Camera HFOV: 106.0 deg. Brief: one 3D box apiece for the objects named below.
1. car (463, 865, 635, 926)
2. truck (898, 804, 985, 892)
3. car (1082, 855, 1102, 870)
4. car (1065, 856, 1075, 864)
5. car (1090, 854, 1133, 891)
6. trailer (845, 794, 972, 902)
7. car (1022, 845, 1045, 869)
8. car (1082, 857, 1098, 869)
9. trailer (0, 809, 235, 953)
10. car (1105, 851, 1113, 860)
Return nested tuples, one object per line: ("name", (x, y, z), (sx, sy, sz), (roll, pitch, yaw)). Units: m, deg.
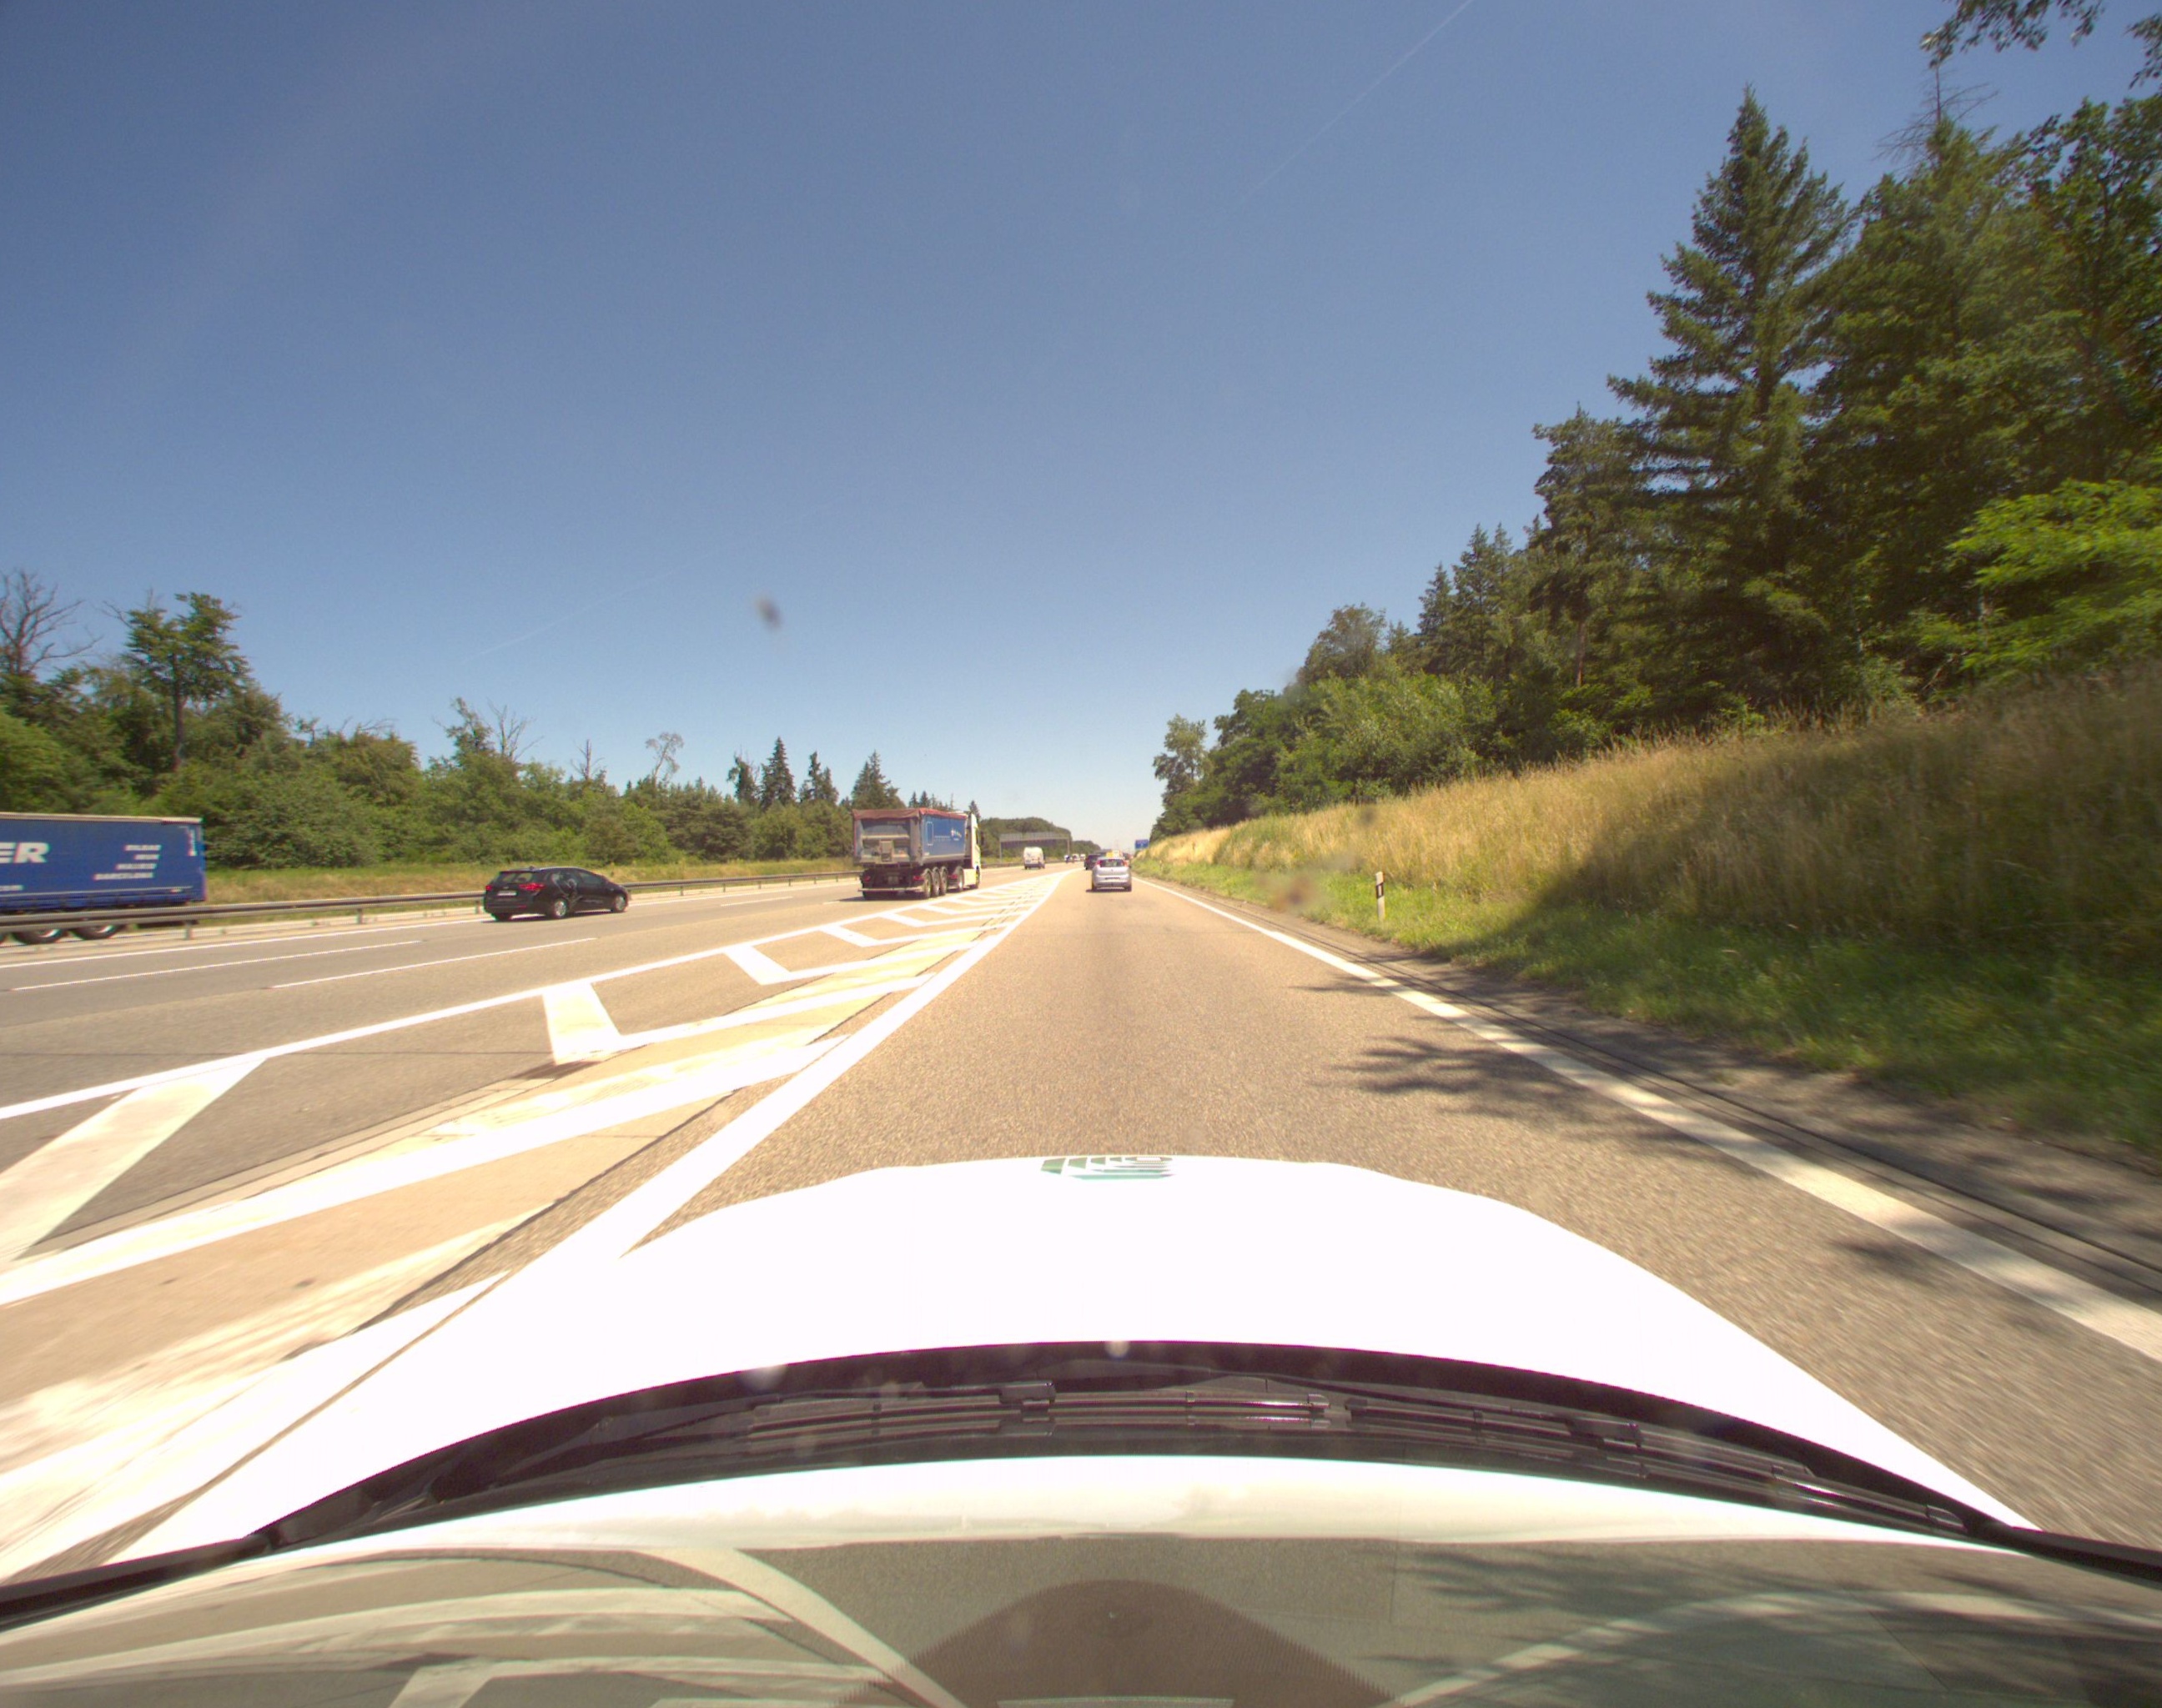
("car", (-15.213, 1.120, 23.669), (1.696, 1.474, 4.602), (-2, 0, 4))
("truck", (-6.436, -0.269, 38.476), (2.673, 3.758, 5.949), (-2, 0, 3))
("car", (1.228, 0.945, 89.507), (1.822, 1.672, 4.008), (0, -1, 7))
("car", (-2.672, 1.462, 199.416), (2.148, 1.814, 4.862), (-1, 0, 2))
("car", (1.315, 0.764, 35.224), (1.713, 1.491, 3.739), (-1, 0, 2))
("trailer", (-6.732, -0.225, 33.446), (2.725, 3.758, 9.116), (-2, 0, 3))
("car", (-6.038, 0.416, 104.048), (2.250, 2.951, 6.119), (-1, 0, 3))
("car", (1.228, 1.149, 106.631), (1.886, 1.469, 4.265), (-1, 0, 3))
("trailer", (-33.119, 0.859, 22.926), (3.189, 4.172, 13.996), (-3, 0, 4))
("car", (6.056, 0.316, 178.434), (1.604, 2.014, 4.004), (-1, 0, 4))
